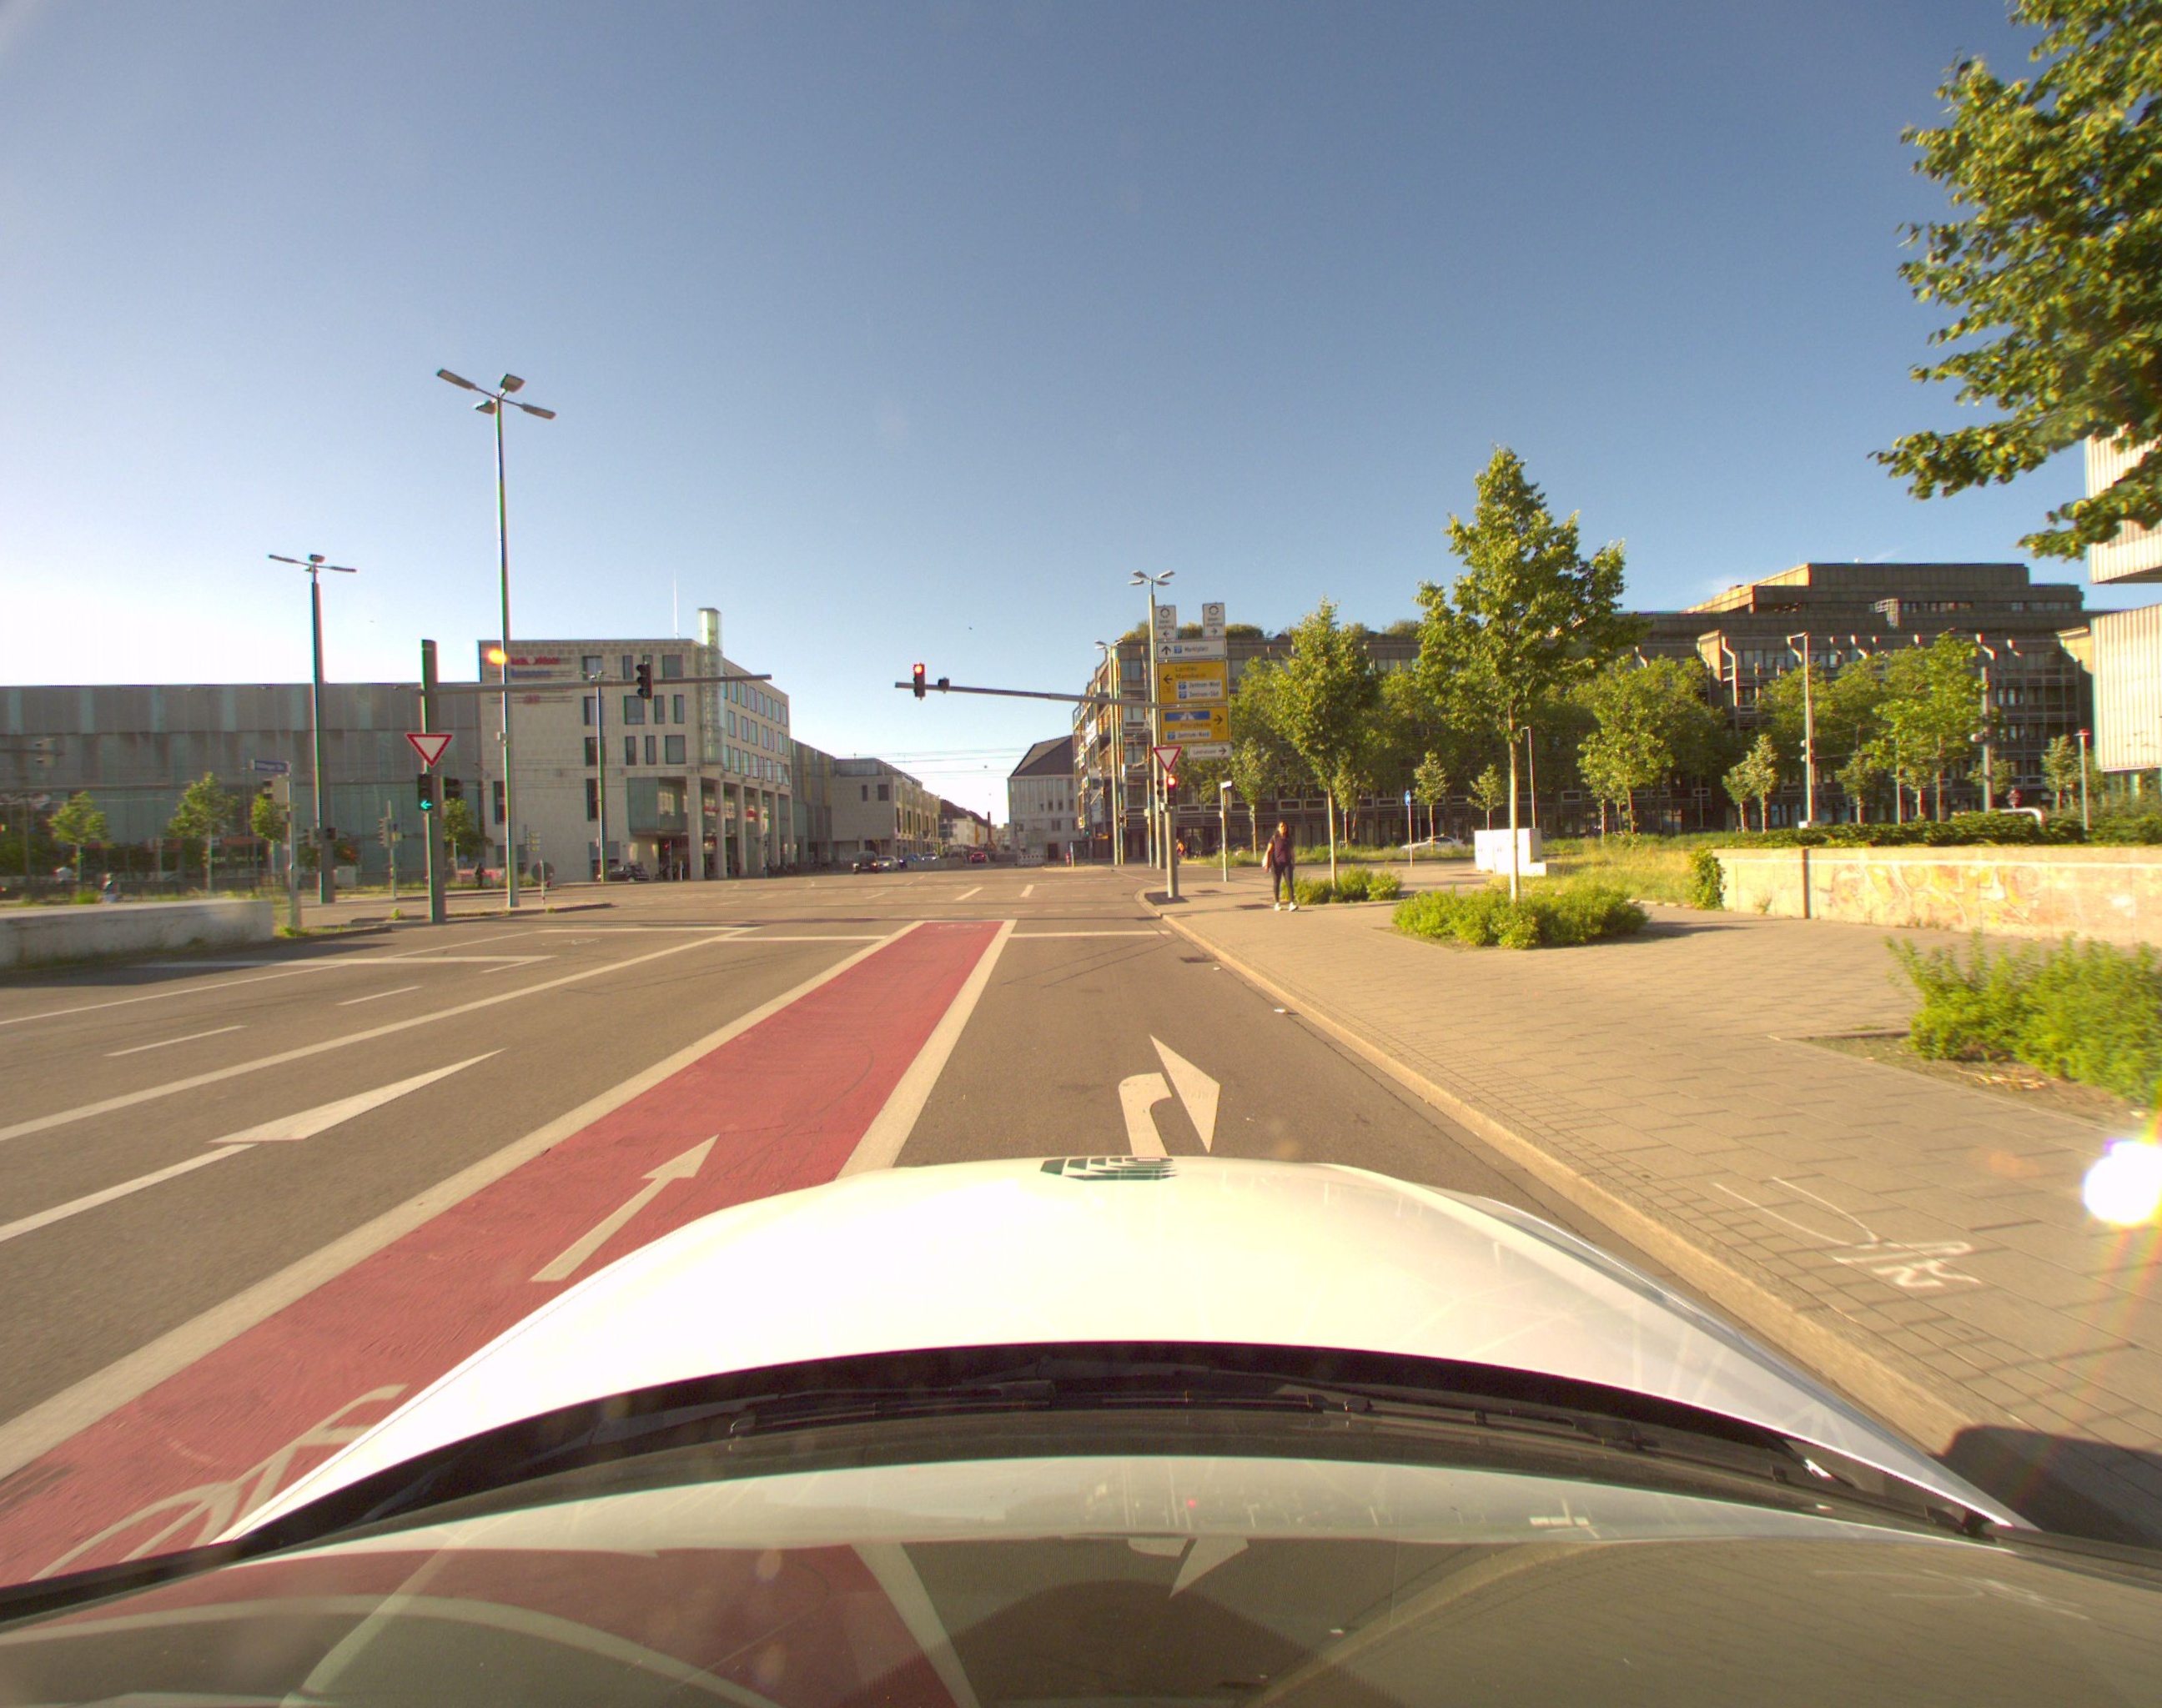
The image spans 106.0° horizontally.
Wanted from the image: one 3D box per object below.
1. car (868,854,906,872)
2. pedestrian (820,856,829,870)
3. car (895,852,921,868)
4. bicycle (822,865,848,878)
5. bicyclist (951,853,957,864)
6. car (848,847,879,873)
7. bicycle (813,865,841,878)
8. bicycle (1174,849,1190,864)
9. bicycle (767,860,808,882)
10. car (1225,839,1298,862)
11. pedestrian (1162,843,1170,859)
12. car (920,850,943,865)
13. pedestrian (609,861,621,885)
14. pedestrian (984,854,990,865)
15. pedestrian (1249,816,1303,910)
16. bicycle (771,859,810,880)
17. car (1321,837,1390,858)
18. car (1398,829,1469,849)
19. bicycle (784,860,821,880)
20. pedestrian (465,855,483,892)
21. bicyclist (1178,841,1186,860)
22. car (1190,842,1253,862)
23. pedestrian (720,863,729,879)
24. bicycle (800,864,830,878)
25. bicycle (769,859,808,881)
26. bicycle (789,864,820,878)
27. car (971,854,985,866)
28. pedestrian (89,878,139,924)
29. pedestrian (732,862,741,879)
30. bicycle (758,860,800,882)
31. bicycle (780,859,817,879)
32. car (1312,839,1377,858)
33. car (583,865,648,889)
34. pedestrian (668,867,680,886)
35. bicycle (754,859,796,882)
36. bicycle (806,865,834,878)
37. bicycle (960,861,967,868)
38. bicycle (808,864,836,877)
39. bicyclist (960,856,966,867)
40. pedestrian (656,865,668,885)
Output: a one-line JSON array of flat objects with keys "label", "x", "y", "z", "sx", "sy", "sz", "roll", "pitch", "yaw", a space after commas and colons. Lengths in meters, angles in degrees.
[{"label": "car", "x": -18.127, "y": 0.837, "z": 76.342, "sx": 1.984, "sy": 1.356, "sz": 4.654, "roll": -2, "pitch": 2, "yaw": 5}, {"label": "pedestrian", "x": -28.590, "y": 0.998, "z": 90.714, "sx": 0.746, "sy": 1.608, "sz": 0.619, "roll": -2, "pitch": 0, "yaw": -29}, {"label": "car", "x": -18.363, "y": 0.586, "z": 86.754, "sx": 1.988, "sy": 1.530, "sz": 4.033, "roll": -3, "pitch": 1, "yaw": -2}, {"label": "bicycle", "x": -31.801, "y": 2.258, "z": 105.256, "sx": 3.046, "sy": 1.400, "sz": 0.901, "roll": -3, "pitch": 0, "yaw": -6}, {"label": "bicyclist", "x": -17.883, "y": 0.589, "z": 114.713, "sx": 0.745, "sy": 1.460, "sz": 0.765, "roll": -2, "pitch": 0, "yaw": -4}, {"label": "car", "x": -16.311, "y": 0.421, "z": 61.277, "sx": 1.996, "sy": 1.742, "sz": 4.626, "roll": -2, "pitch": 2, "yaw": -13}, {"label": "bicycle", "x": -31.535, "y": 2.154, "z": 101.131, "sx": 3.046, "sy": 1.400, "sz": 0.901, "roll": -3, "pitch": 0, "yaw": -6}, {"label": "bicycle", "x": 7.171, "y": 0.170, "z": 58.016, "sx": 1.073, "sy": 0.971, "sz": 0.458, "roll": -2, "pitch": 0, "yaw": 0}, {"label": "bicycle", "x": -29.469, "y": 1.679, "z": 81.768, "sx": 3.615, "sy": 2.013, "sz": 1.084, "roll": -3, "pitch": 0, "yaw": -6}, {"label": "car", "x": 12.632, "y": -0.265, "z": 57.210, "sx": 4.623, "sy": 1.356, "sz": 1.997, "roll": -2, "pitch": 2, "yaw": -5}, {"label": "pedestrian", "x": 8.014, "y": -0.299, "z": 76.610, "sx": 0.619, "sy": 1.518, "sz": 0.655, "roll": -2, "pitch": 0, "yaw": 7}, {"label": "car", "x": -18.307, "y": 0.431, "z": 99.985, "sx": 1.988, "sy": 1.623, "sz": 4.235, "roll": -3, "pitch": 1, "yaw": -2}, {"label": "pedestrian", "x": -38.936, "y": 1.582, "z": 68.069, "sx": 0.623, "sy": 2.013, "sz": 0.514, "roll": -2, "pitch": 0, "yaw": -10}, {"label": "pedestrian", "x": -13.815, "y": 0.829, "z": 119.498, "sx": 0.713, "sy": 1.668, "sz": 0.985, "roll": -2, "pitch": 0, "yaw": -5}, {"label": "pedestrian", "x": 3.850, "y": 0.166, "z": 16.056, "sx": 0.814, "sy": 1.748, "sz": 1.047, "roll": -3, "pitch": 0, "yaw": 20}, {"label": "bicycle", "x": -30.548, "y": 1.667, "z": 85.828, "sx": 3.615, "sy": 2.013, "sz": 1.084, "roll": -3, "pitch": 0, "yaw": -6}, {"label": "car", "x": 21.116, "y": -0.509, "z": 62.783, "sx": 4.623, "sy": 1.356, "sz": 1.997, "roll": -2, "pitch": 2, "yaw": -5}, {"label": "car", "x": 27.318, "y": -1.203, "z": 63.205, "sx": 4.623, "sy": 1.356, "sz": 1.997, "roll": -2, "pitch": 2, "yaw": -5}, {"label": "bicycle", "x": -30.659, "y": 1.712, "z": 89.757, "sx": 3.615, "sy": 2.013, "sz": 0.901, "roll": -3, "pitch": 0, "yaw": -6}, {"label": "pedestrian", "x": -34.013, "y": 1.098, "z": 45.626, "sx": 0.515, "sy": 2.013, "sz": 0.622, "roll": -2, "pitch": 0, "yaw": -14}, {"label": "bicyclist", "x": 7.207, "y": -0.269, "z": 58.019, "sx": 0.506, "sy": 1.338, "sz": 0.453, "roll": -2, "pitch": 0, "yaw": 1}, {"label": "car", "x": 11.149, "y": -0.200, "z": 64.804, "sx": 4.623, "sy": 1.356, "sz": 1.997, "roll": -2, "pitch": 2, "yaw": -5}, {"label": "pedestrian", "x": -35.049, "y": 1.680, "z": 80.129, "sx": 0.628, "sy": 1.608, "sz": 0.646, "roll": -2, "pitch": 0, "yaw": -37}, {"label": "bicycle", "x": -31.057, "y": 2.002, "z": 95.146, "sx": 3.046, "sy": 1.400, "sz": 0.901, "roll": -3, "pitch": 0, "yaw": -6}, {"label": "bicycle", "x": -30.402, "y": 1.655, "z": 84.684, "sx": 3.615, "sy": 2.013, "sz": 1.084, "roll": -3, "pitch": 0, "yaw": -6}, {"label": "bicycle", "x": -30.829, "y": 1.846, "z": 90.728, "sx": 3.046, "sy": 1.400, "sz": 0.901, "roll": -3, "pitch": 0, "yaw": -6}, {"label": "car", "x": -15.053, "y": 0.895, "z": 118.770, "sx": 1.992, "sy": 1.552, "sz": 3.990, "roll": -2, "pitch": 1, "yaw": -8}, {"label": "pedestrian", "x": -33.358, "y": 1.601, "z": 28.115, "sx": 0.722, "sy": 1.502, "sz": 0.800, "roll": -2, "pitch": 0, "yaw": -11}, {"label": "pedestrian", "x": -34.173, "y": 1.630, "z": 80.708, "sx": 0.628, "sy": 1.608, "sz": 0.646, "roll": -2, "pitch": 0, "yaw": -37}, {"label": "bicycle", "x": -29.730, "y": 1.646, "z": 80.300, "sx": 3.615, "sy": 2.013, "sz": 1.084, "roll": -3, "pitch": 0, "yaw": -6}, {"label": "bicycle", "x": -30.488, "y": 1.623, "z": 87.919, "sx": 3.615, "sy": 2.013, "sz": 0.901, "roll": -3, "pitch": 0, "yaw": -6}, {"label": "car", "x": 21.485, "y": -0.448, "z": 66.415, "sx": 4.623, "sy": 1.356, "sz": 1.997, "roll": -2, "pitch": 2, "yaw": -5}, {"label": "car", "x": -34.843, "y": 1.697, "z": 61.020, "sx": 3.769, "sy": 1.564, "sz": 1.779, "roll": -2, "pitch": 1, "yaw": -4}, {"label": "pedestrian", "x": -34.067, "y": 1.871, "z": 68.120, "sx": 0.621, "sy": 1.608, "sz": 0.653, "roll": -2, "pitch": 0, "yaw": -2}, {"label": "bicycle", "x": -29.659, "y": 1.630, "z": 78.964, "sx": 3.620, "sy": 2.013, "sz": 1.083, "roll": -3, "pitch": 0, "yaw": -9}, {"label": "bicycle", "x": -31.087, "y": 2.039, "z": 97.032, "sx": 3.046, "sy": 1.400, "sz": 0.901, "roll": -3, "pitch": 0, "yaw": -6}, {"label": "bicycle", "x": -16.715, "y": 1.488, "z": 115.696, "sx": 0.740, "sy": 1.046, "sz": 2.428, "roll": -2, "pitch": 0, "yaw": -4}, {"label": "bicycle", "x": -31.288, "y": 2.046, "z": 98.439, "sx": 3.046, "sy": 1.400, "sz": 0.901, "roll": -3, "pitch": 0, "yaw": -6}, {"label": "bicyclist", "x": -16.730, "y": 1.040, "z": 115.628, "sx": 0.745, "sy": 1.460, "sz": 0.765, "roll": -2, "pitch": 0, "yaw": -4}, {"label": "pedestrian", "x": -35.081, "y": 1.770, "z": 68.133, "sx": 0.621, "sy": 1.608, "sz": 0.653, "roll": -2, "pitch": 0, "yaw": -2}]
